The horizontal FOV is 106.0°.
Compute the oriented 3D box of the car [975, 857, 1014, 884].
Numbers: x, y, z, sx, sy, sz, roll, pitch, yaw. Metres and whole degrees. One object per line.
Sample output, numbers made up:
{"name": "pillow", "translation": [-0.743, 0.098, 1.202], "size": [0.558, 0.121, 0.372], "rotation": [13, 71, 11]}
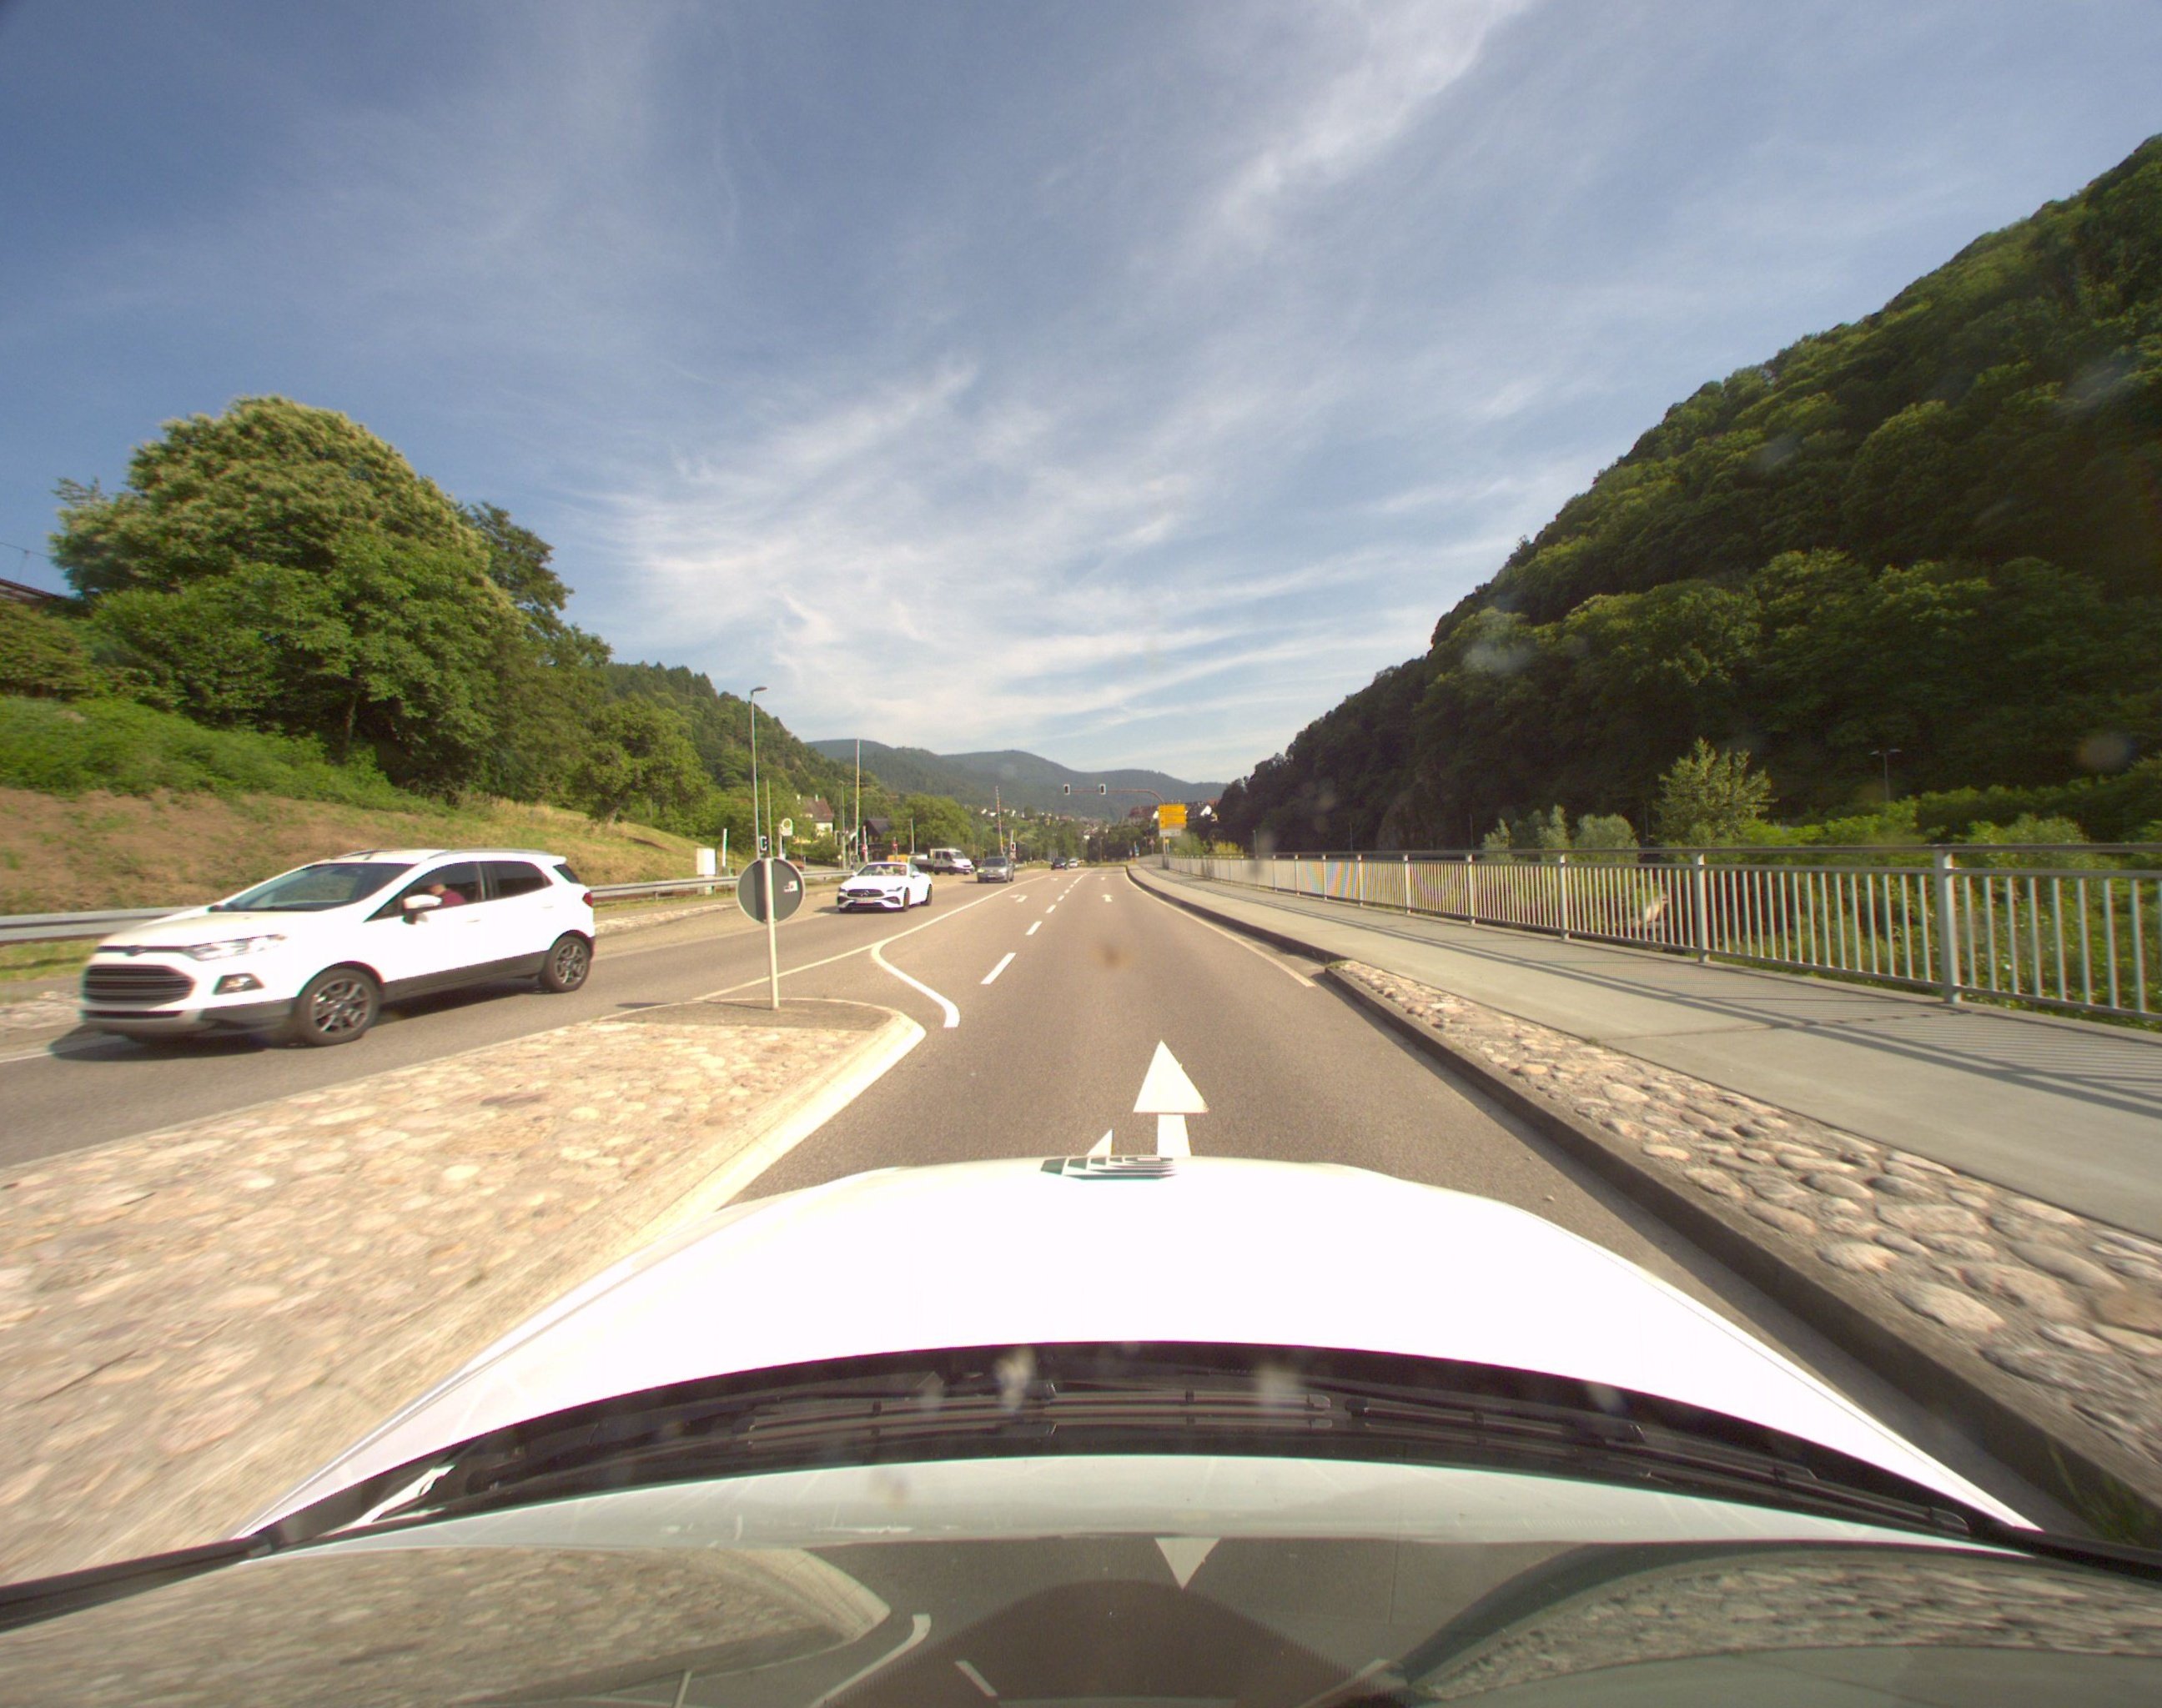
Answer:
{"name": "car", "translation": [-5.134, 0.930, 48.885], "size": [1.752, 1.521, 4.206], "rotation": [0, 0, 1]}

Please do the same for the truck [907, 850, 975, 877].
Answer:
{"name": "truck", "translation": [-12.148, 0.827, 70.534], "size": [5.925, 2.266, 2.013], "rotation": [-1, 0, 31]}

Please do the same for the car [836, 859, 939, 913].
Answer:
{"name": "car", "translation": [-5.554, 0.858, 24.005], "size": [1.776, 1.400, 4.828], "rotation": [0, 0, 1]}

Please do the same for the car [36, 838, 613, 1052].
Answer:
{"name": "car", "translation": [-6.770, 0.708, 8.031], "size": [1.755, 1.560, 4.005], "rotation": [-1, -1, 5]}

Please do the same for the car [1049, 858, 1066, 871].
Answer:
{"name": "car", "translation": [-2.606, 1.213, 92.228], "size": [1.767, 1.417, 3.785], "rotation": [-1, -1, 1]}

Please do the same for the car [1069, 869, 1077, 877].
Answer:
{"name": "car", "translation": [-2.030, 4.915, 206.476], "size": [1.987, 2.014, 4.557], "rotation": [0, -1, 1]}
